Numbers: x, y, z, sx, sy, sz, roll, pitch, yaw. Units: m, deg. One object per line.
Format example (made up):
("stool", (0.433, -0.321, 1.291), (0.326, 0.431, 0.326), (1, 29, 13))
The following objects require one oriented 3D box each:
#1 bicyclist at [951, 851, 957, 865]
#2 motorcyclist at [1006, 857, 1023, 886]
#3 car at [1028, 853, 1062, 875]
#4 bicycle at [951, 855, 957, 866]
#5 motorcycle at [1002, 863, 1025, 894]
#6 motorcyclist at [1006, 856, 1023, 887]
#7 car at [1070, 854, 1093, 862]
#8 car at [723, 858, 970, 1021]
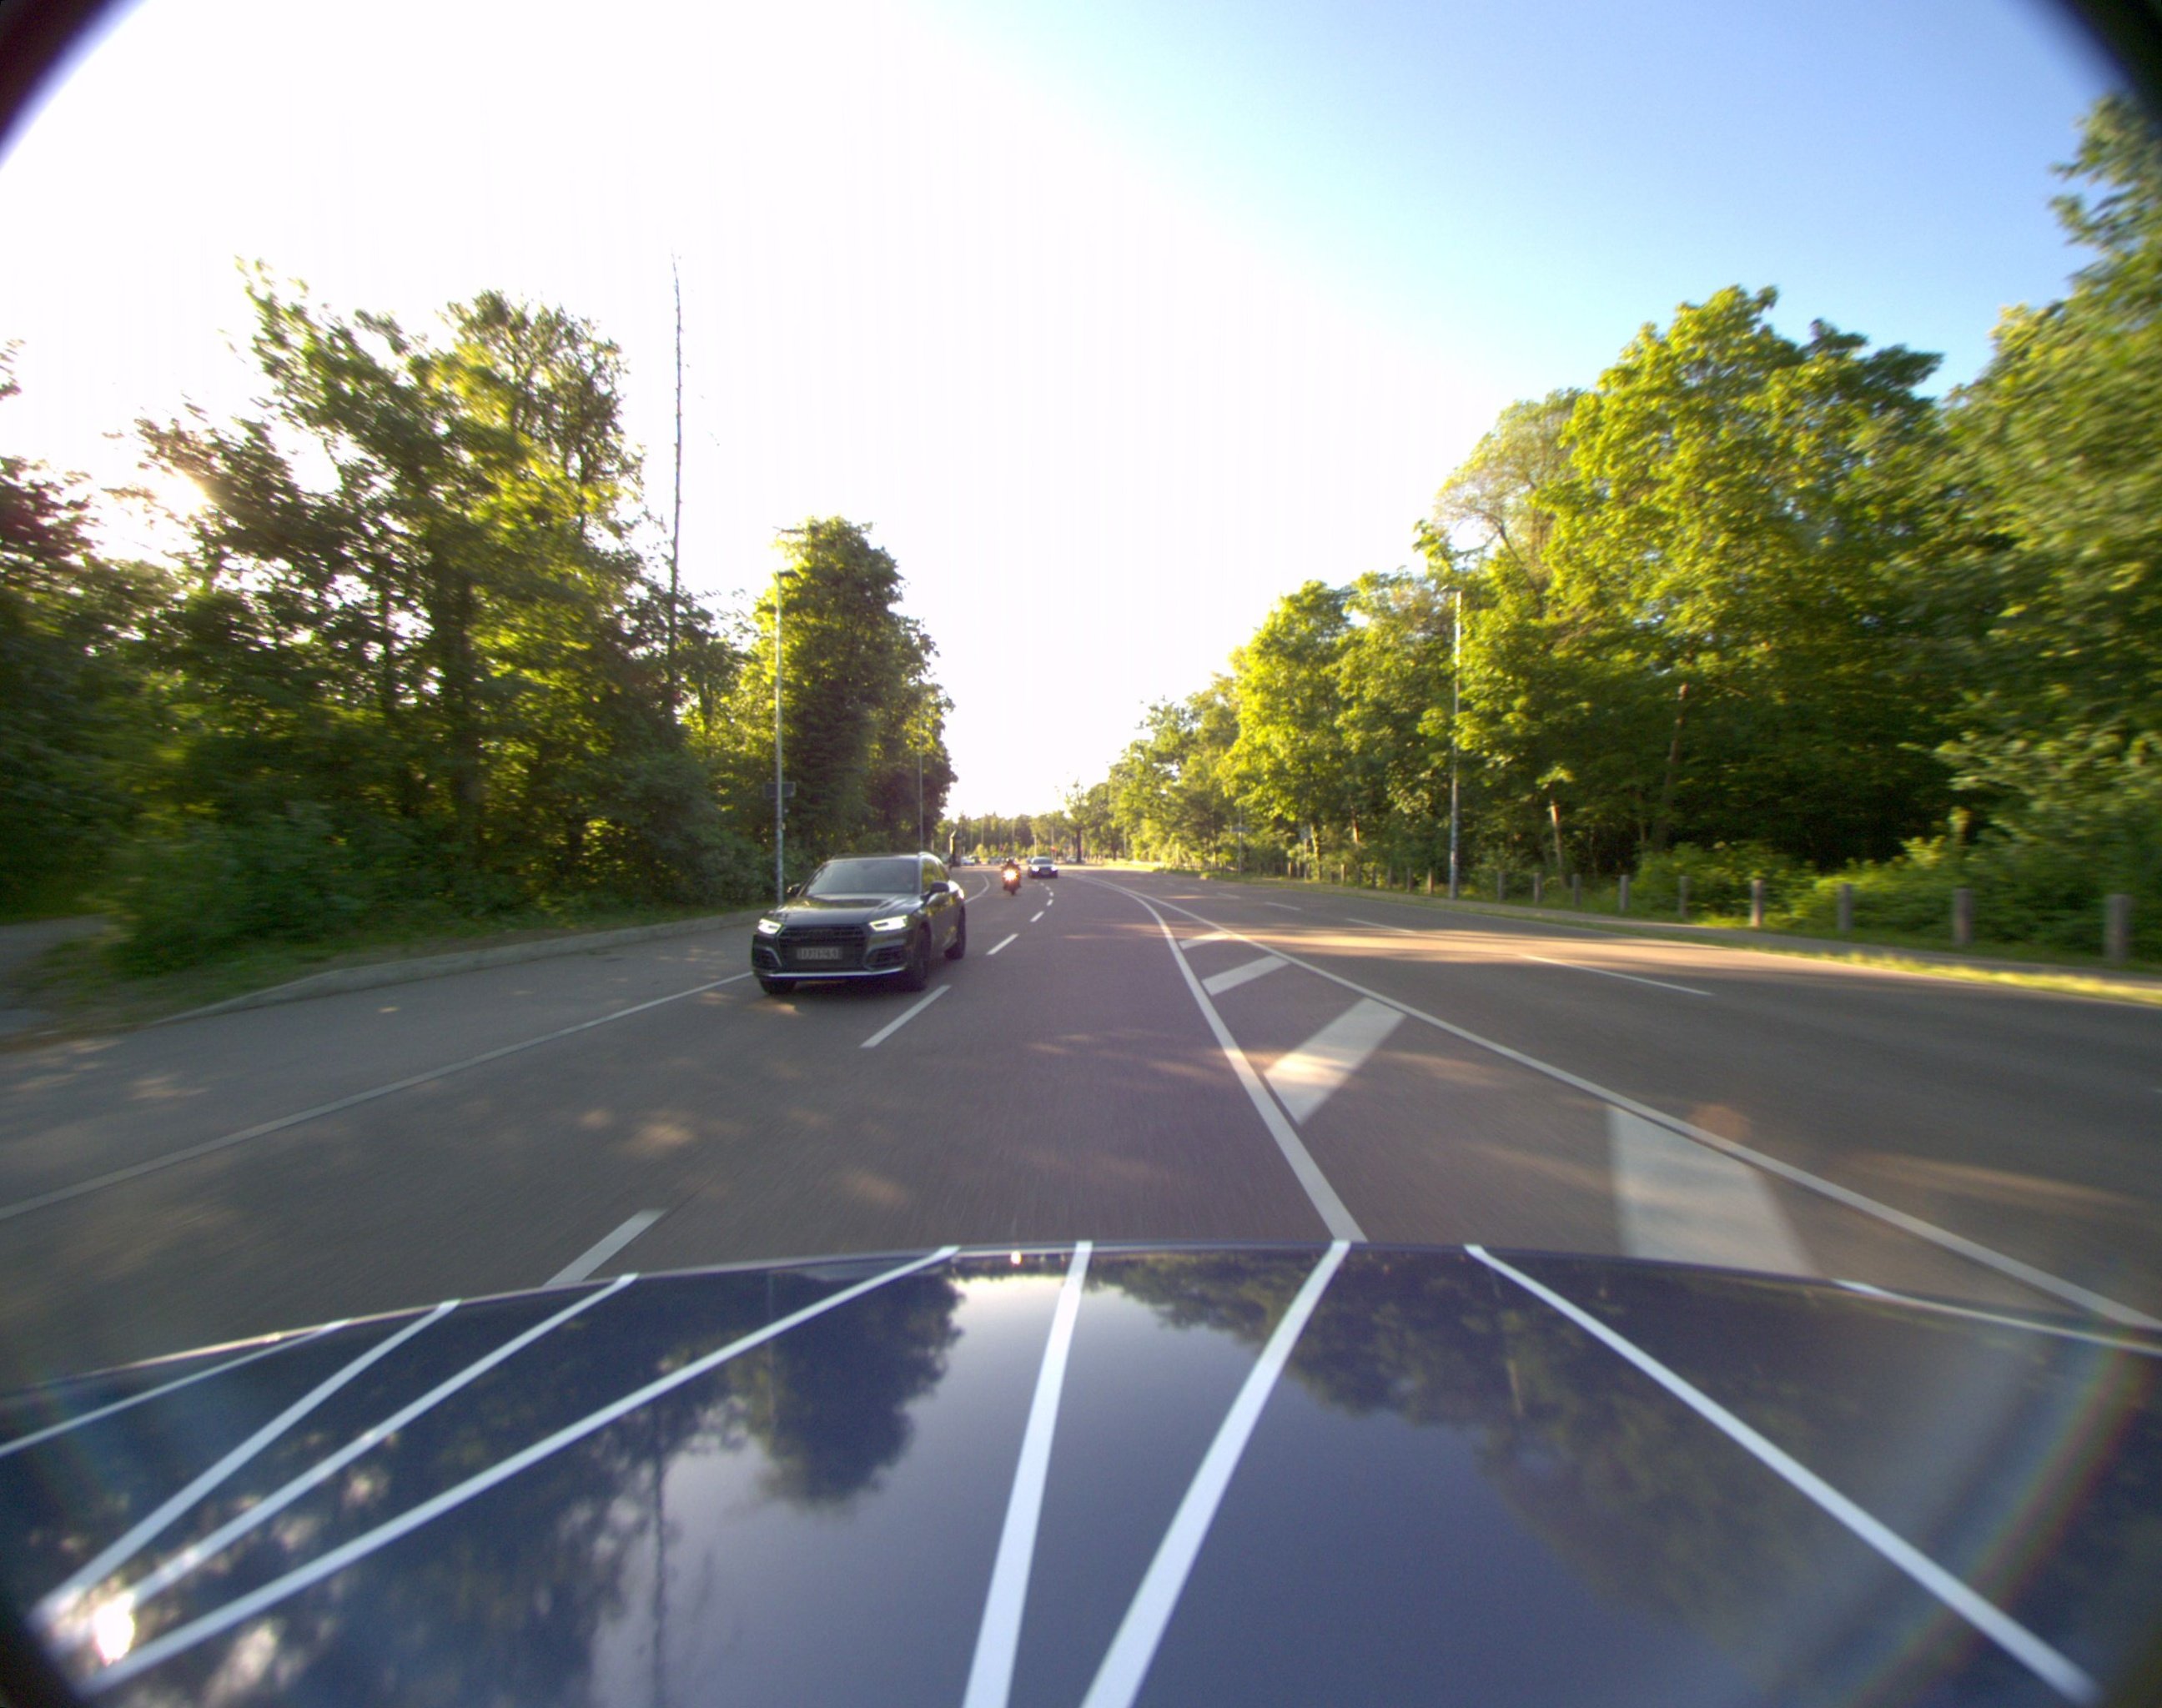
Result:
("bicyclist", (-13.501, 0.381, 80.837), (0.522, 1.460, 0.860), (-1, 1, -13))
("motorcyclist", (-2.923, 0.763, 33.462), (0.671, 1.257, 0.825), (-2, 1, -5))
("car", (-2.659, 0.693, 55.134), (1.869, 1.538, 4.792), (-1, 0, -10))
("bicycle", (-13.485, 0.721, 80.782), (0.556, 1.131, 1.862), (-1, 1, -13))
("motorcycle", (-2.932, 1.018, 32.924), (0.916, 1.243, 2.961), (-1, 0, -5))
("motorcyclist", (-2.870, 0.743, 32.607), (0.671, 1.257, 0.825), (-2, 1, -5))
("car", (0.101, 0.871, 153.061), (4.302, 1.504, 1.837), (-1, 1, -13))
("car", (-2.795, 0.910, 10.268), (1.898, 1.596, 4.543), (-2, 0, 0))
